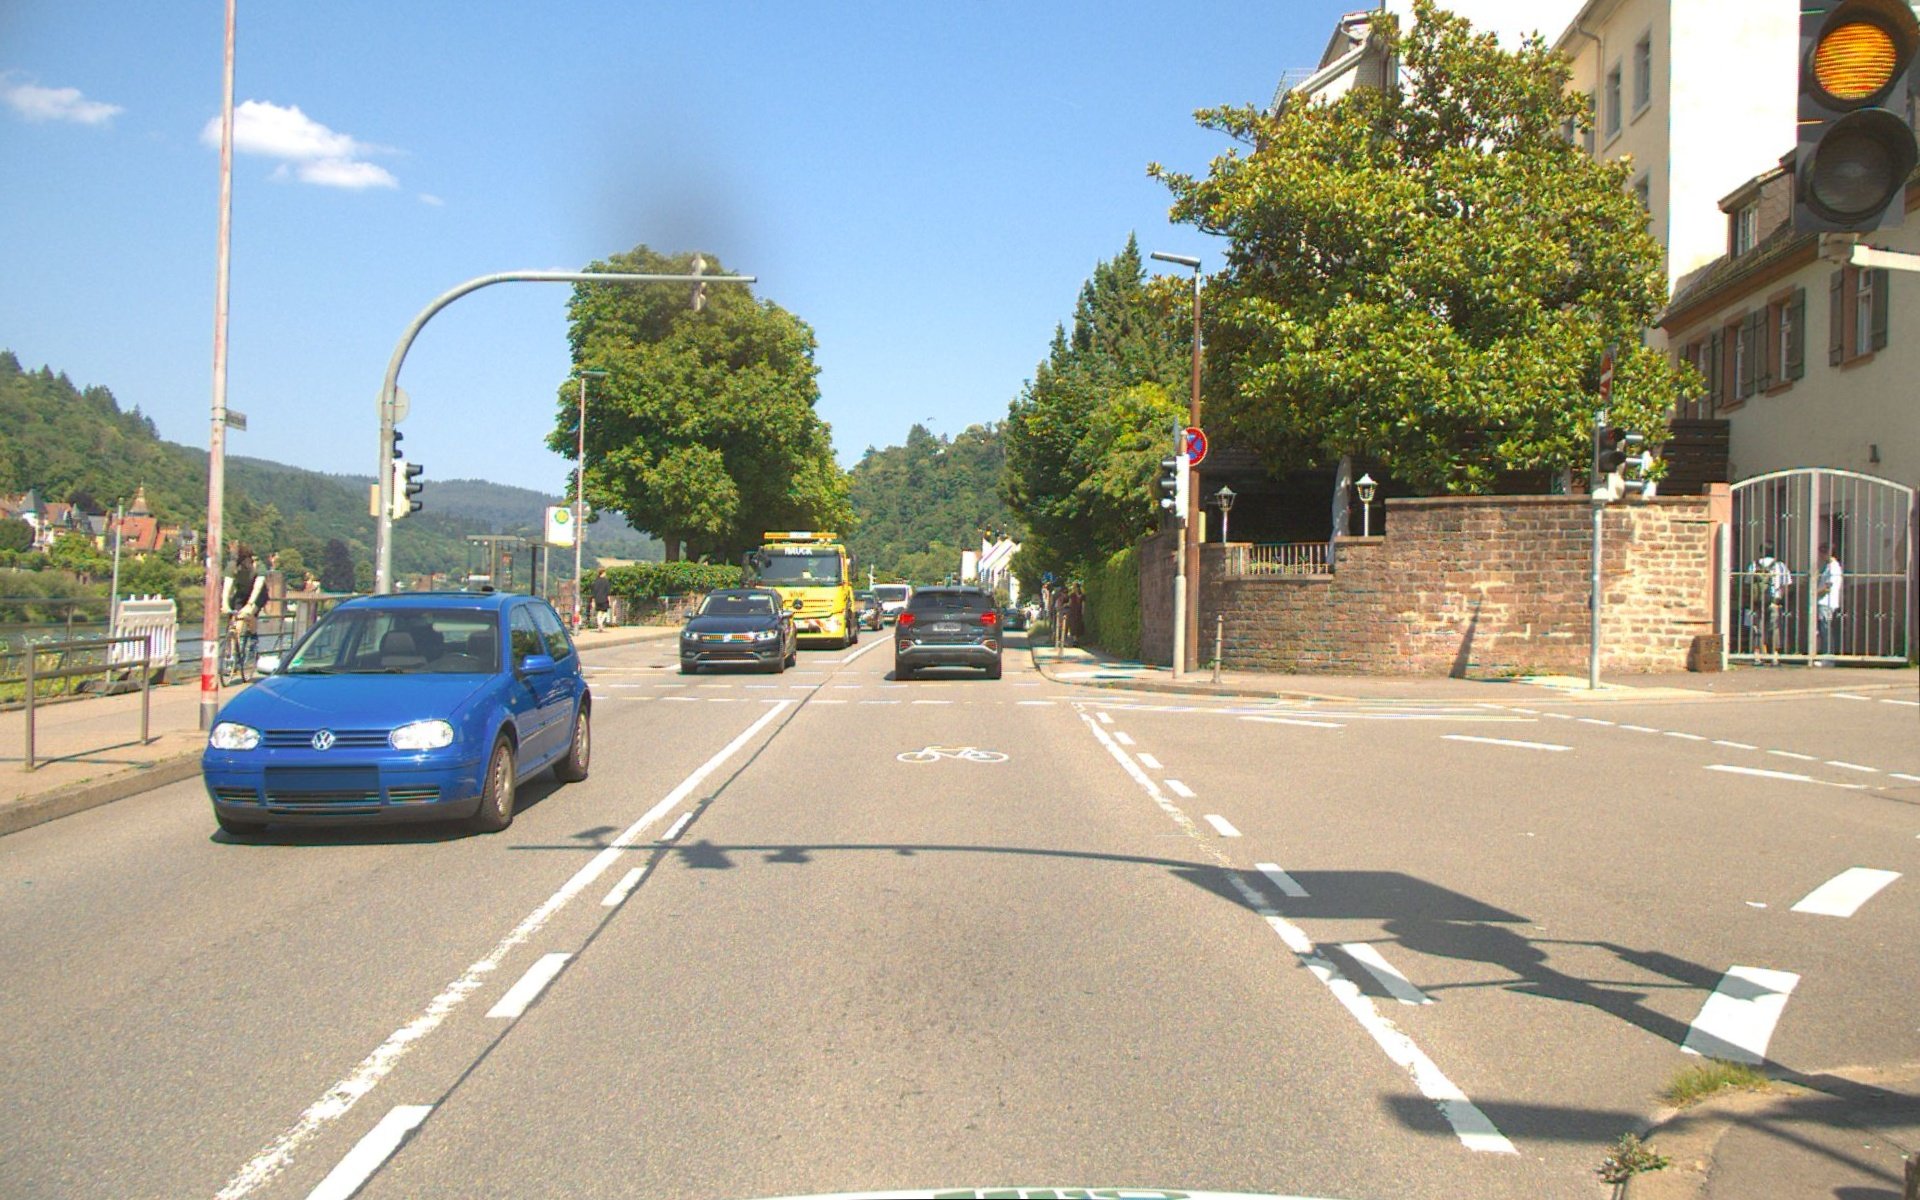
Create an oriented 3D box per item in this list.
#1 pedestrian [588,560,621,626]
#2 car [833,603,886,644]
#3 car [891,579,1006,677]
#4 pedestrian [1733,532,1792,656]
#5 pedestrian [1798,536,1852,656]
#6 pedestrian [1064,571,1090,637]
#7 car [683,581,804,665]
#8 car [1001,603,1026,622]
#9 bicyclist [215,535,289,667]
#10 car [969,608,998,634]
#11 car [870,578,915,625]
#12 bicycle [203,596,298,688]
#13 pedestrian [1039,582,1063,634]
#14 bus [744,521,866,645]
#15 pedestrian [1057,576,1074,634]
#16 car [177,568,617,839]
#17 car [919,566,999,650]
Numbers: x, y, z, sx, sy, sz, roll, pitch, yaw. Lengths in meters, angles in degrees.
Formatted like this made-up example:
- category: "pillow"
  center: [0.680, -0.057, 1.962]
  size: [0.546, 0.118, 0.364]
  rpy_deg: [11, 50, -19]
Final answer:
- category: "pedestrian"
  center: [-10.636, -0.196, 49.471]
  size: [0.737, 1.951, 1.009]
  rpy_deg: [0, -2, 1]
- category: "car"
  center: [-3.843, 0.871, 63.844]
  size: [1.778, 1.422, 4.347]
  rpy_deg: [0, 1, 0]
- category: "car"
  center: [-0.192, 0.426, 28.138]
  size: [1.819, 1.550, 4.000]
  rpy_deg: [0, 0, 0]
- category: "pedestrian"
  center: [11.497, -0.084, 23.722]
  size: [0.708, 1.735, 0.708]
  rpy_deg: [0, 0, 22]
- category: "pedestrian"
  center: [12.725, -0.060, 24.342]
  size: [0.692, 1.735, 0.724]
  rpy_deg: [0, 0, 27]
- category: "pedestrian"
  center: [3.190, 0.107, 45.167]
  size: [0.667, 1.773, 0.913]
  rpy_deg: [0, 1, 1]
- category: "car"
  center: [-3.932, 0.379, 30.629]
  size: [1.772, 1.431, 4.355]
  rpy_deg: [0, 1, -2]
- category: "car"
  center: [4.304, 1.016, 133.757]
  size: [1.952, 1.479, 4.009]
  rpy_deg: [0, -2, 1]
- category: "bicyclist"
  center: [-9.149, 0.011, 21.389]
  size: [0.654, 1.660, 0.977]
  rpy_deg: [0, 0, -9]
- category: "car"
  center: [1.531, 1.318, 107.280]
  size: [1.758, 1.507, 4.001]
  rpy_deg: [2, 1, 1]
- category: "car"
  center: [-3.475, 0.054, 85.892]
  size: [2.053, 2.342, 5.869]
  rpy_deg: [0, 1, 0]
- category: "bicycle"
  center: [-9.146, 0.515, 21.383]
  size: [0.654, 1.132, 2.030]
  rpy_deg: [0, 0, -9]
- category: "pedestrian"
  center: [2.988, 0.255, 54.549]
  size: [0.713, 1.679, 0.882]
  rpy_deg: [-2, 0, 1]
- category: "bus"
  center: [-3.957, -0.452, 43.959]
  size: [2.544, 2.947, 8.446]
  rpy_deg: [0, 1, -1]
- category: "pedestrian"
  center: [2.969, 0.149, 46.729]
  size: [0.446, 1.634, 0.579]
  rpy_deg: [0, 0, 1]
- category: "car"
  center: [-3.607, 0.573, 11.458]
  size: [1.694, 1.517, 4.324]
  rpy_deg: [0, 0, -2]
- category: "car"
  center: [-0.032, 0.250, 42.561]
  size: [1.953, 2.049, 3.999]
  rpy_deg: [0, -2, -1]
